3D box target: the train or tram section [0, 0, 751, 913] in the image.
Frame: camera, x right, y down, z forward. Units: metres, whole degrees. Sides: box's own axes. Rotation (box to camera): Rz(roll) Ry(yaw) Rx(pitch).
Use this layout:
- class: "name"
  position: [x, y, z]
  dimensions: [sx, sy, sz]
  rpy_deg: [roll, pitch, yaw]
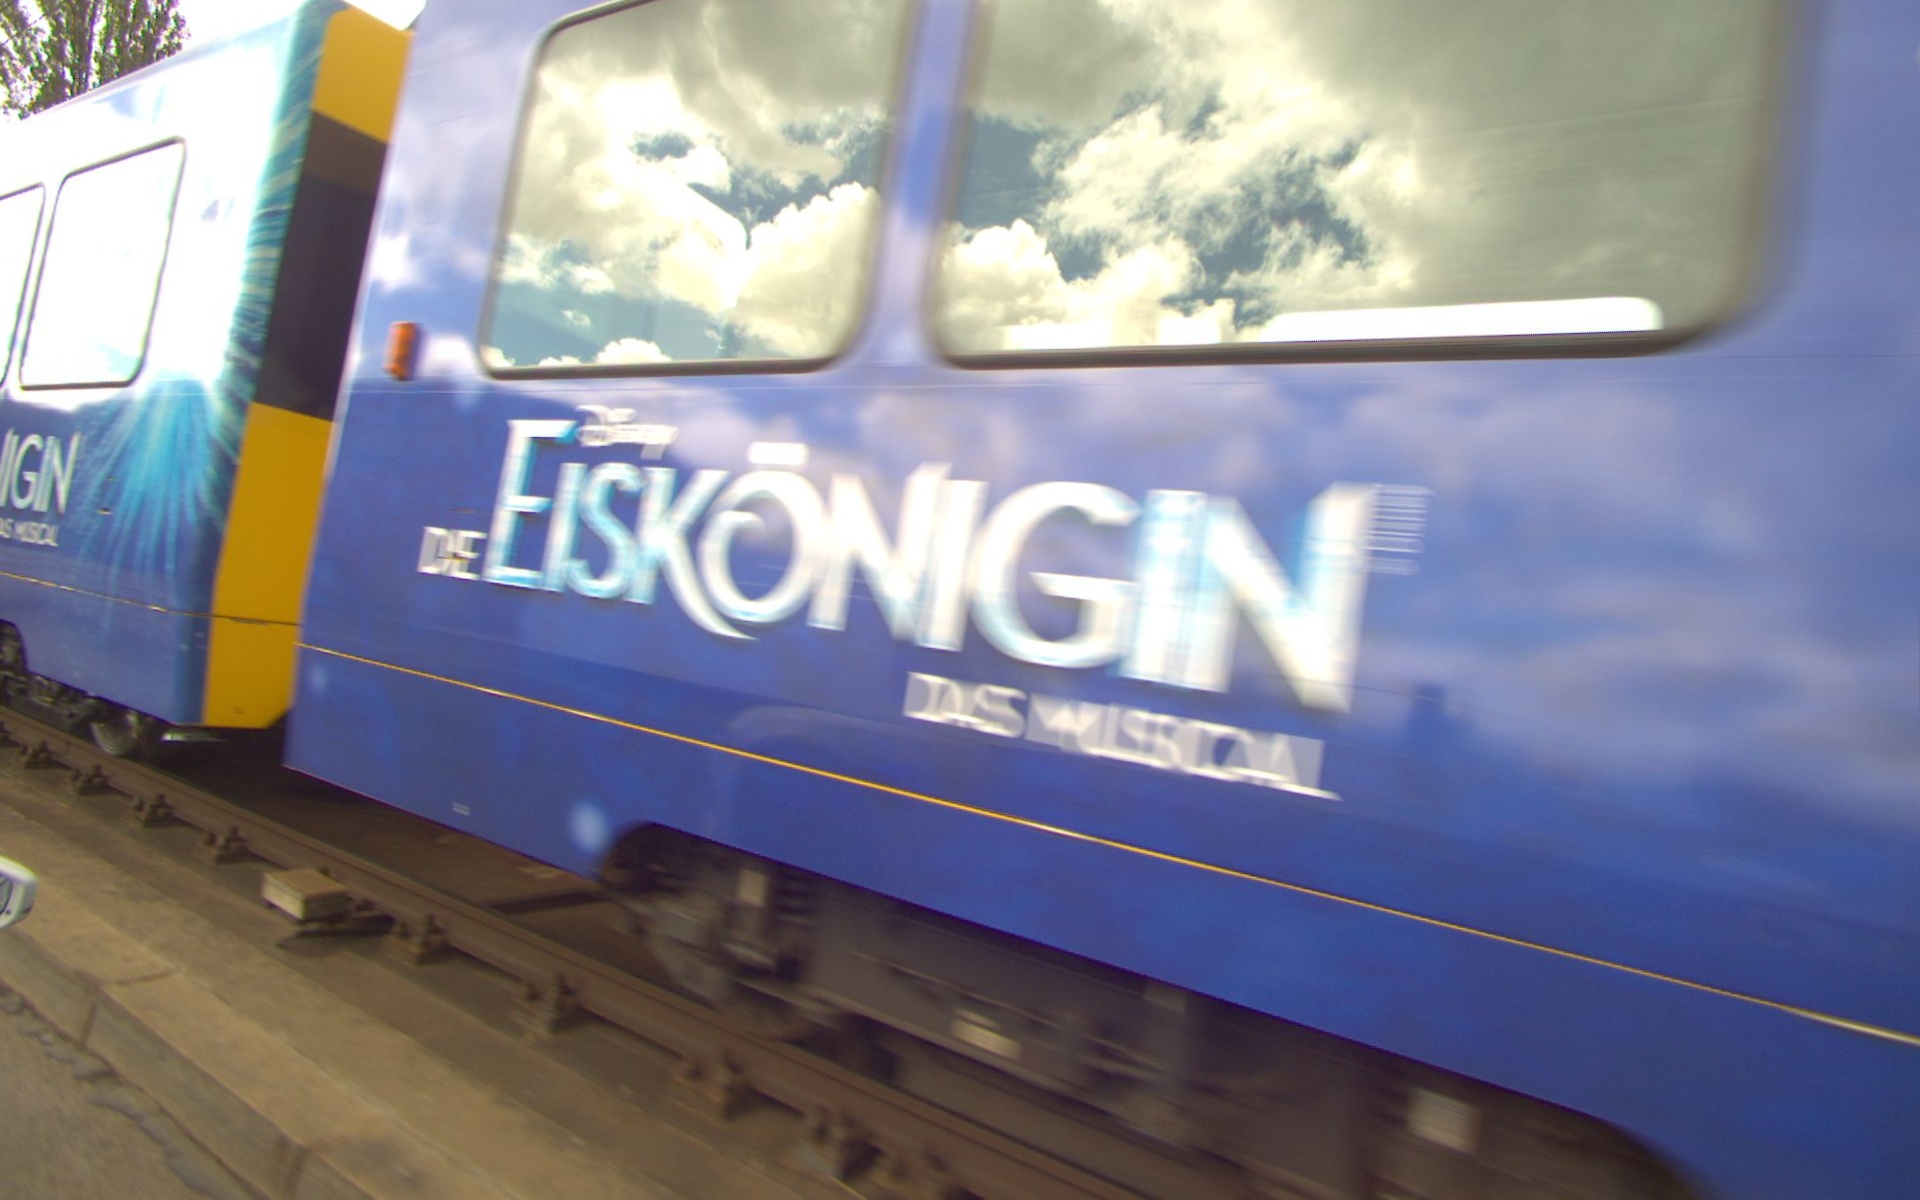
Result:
- class: "train or tram section"
  position: [-10.632, -1.446, 10.046]
  dimensions: [19.557, 3.806, 2.801]
  rpy_deg: [6, -3, 30]

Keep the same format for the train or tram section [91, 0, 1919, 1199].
- class: "train or tram section"
  position: [5.784, 0.338, 0.125]
  dimensions: [19.560, 3.701, 2.788]
  rpy_deg: [6, 0, 31]
